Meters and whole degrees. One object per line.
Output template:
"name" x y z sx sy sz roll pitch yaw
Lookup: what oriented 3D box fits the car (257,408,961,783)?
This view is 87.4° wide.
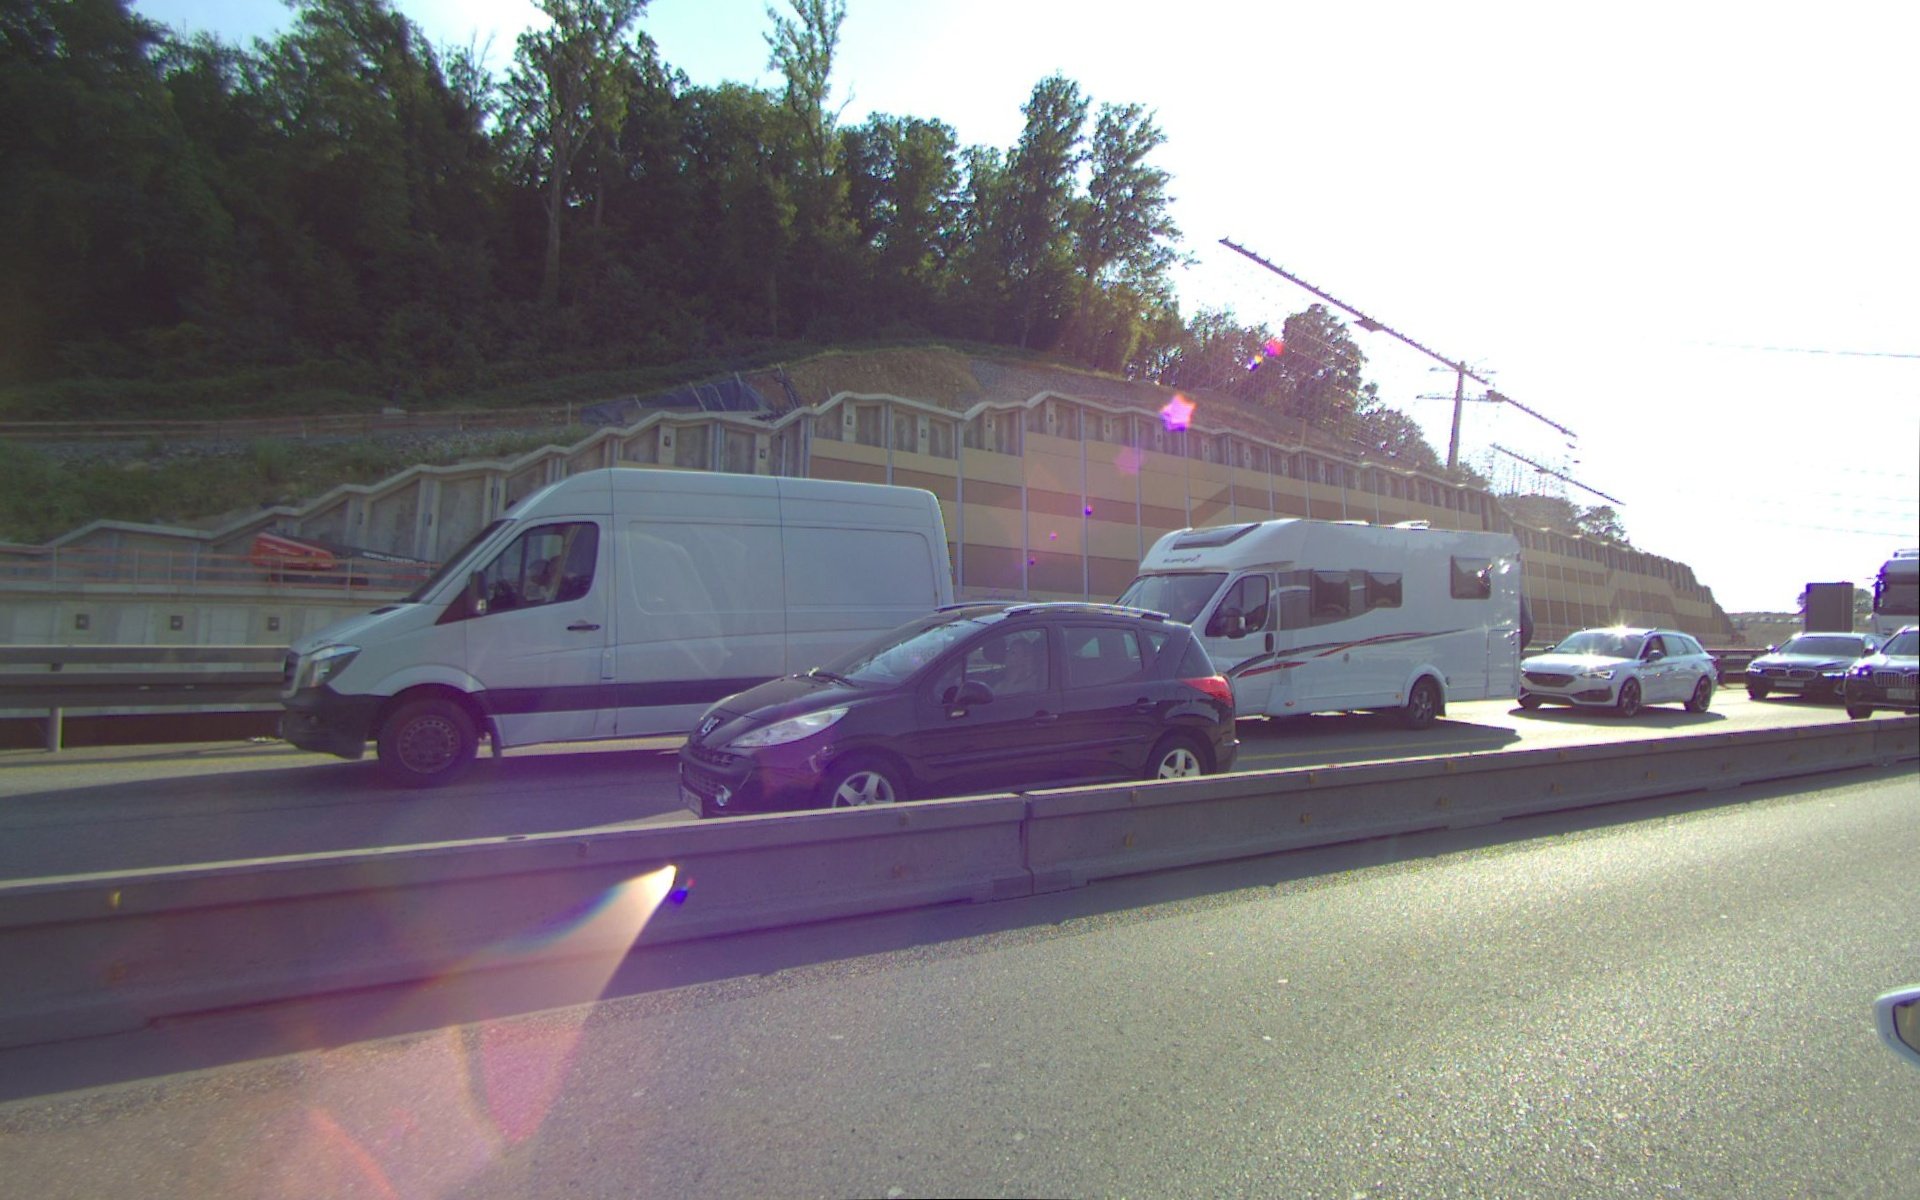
"car" -2.948 0.075 9.398 5.681 2.655 1.947 2 -2 -30

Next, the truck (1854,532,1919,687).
"truck" 28.838 0.352 29.403 5.625 4.274 2.695 2 -1 -35

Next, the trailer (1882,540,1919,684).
"trailer" 34.362 0.554 33.232 13.609 4.274 2.703 2 -1 -35

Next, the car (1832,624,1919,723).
"car" 17.426 1.219 17.681 4.701 1.600 1.808 1 -2 -32

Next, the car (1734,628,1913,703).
"car" 19.258 1.417 22.344 4.662 1.479 1.733 2 -1 -32

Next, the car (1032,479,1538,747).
"car" 4.783 0.290 14.020 7.545 2.956 2.323 2 -2 -31

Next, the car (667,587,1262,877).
"car" 0.105 0.728 7.253 3.954 1.542 1.772 1 2 -31

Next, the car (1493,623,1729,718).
"car" 11.626 1.211 17.850 4.558 1.441 1.739 2 0 -32
